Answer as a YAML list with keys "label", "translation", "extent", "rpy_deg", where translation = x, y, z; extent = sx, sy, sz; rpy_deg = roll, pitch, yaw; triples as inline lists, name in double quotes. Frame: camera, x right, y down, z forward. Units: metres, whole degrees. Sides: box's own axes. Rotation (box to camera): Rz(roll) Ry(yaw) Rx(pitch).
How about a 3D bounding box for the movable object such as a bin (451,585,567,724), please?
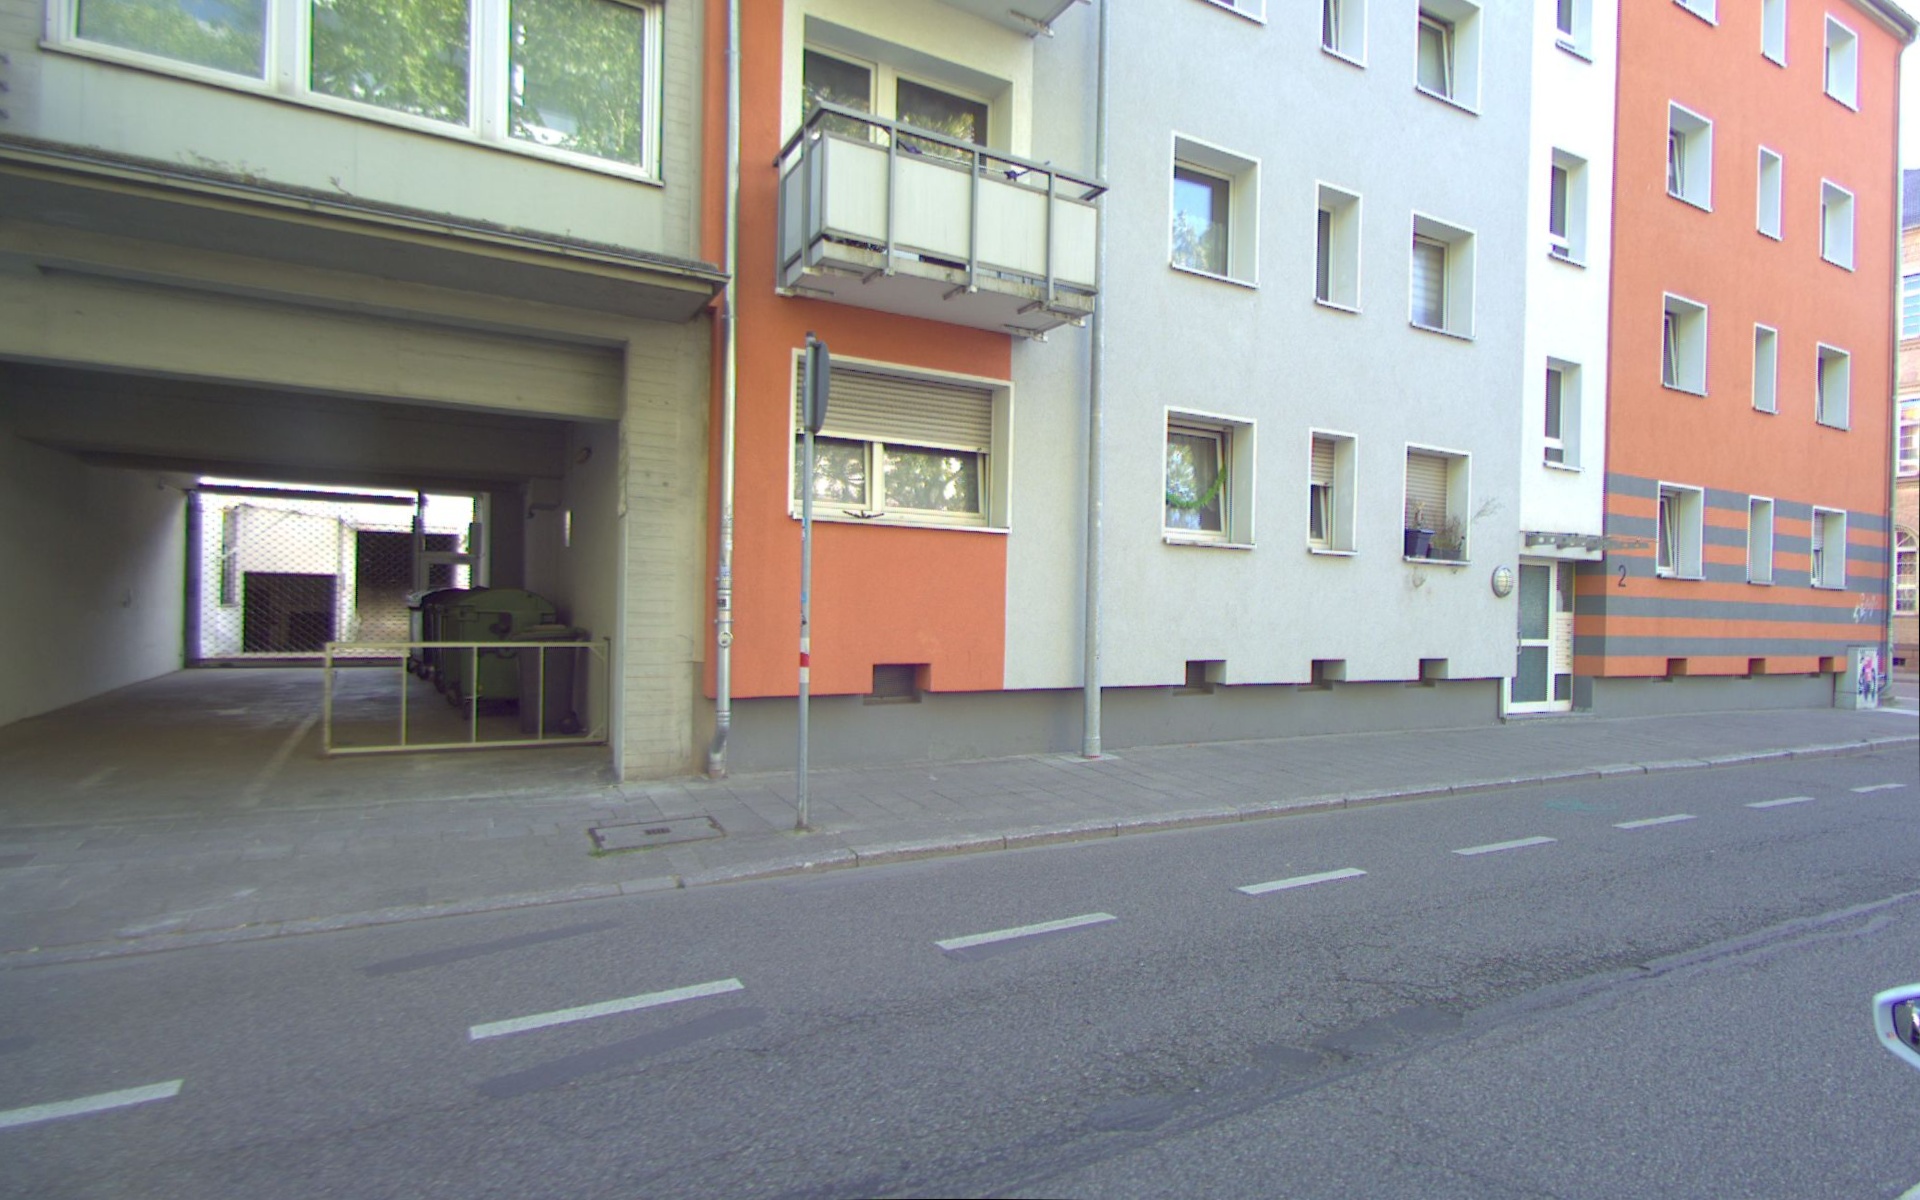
- label: "movable object such as a bin"
  translation: [-5.201, 0.589, 11.559]
  extent: [1.128, 1.484, 1.255]
  rpy_deg: [2, 0, -27]

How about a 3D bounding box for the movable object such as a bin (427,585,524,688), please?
- label: "movable object such as a bin"
  translation: [-7.491, 0.542, 15.543]
  extent: [1.264, 1.515, 1.155]
  rpy_deg: [2, 0, -27]

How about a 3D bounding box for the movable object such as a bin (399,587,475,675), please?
- label: "movable object such as a bin"
  translation: [-9.233, 0.533, 17.777]
  extent: [1.128, 1.484, 1.129]
  rpy_deg: [2, 0, -27]

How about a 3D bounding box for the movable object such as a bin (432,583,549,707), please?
- label: "movable object such as a bin"
  translation: [-6.041, 0.562, 12.930]
  extent: [1.264, 1.493, 1.266]
  rpy_deg: [2, -1, -27]

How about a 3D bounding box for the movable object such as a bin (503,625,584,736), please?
- label: "movable object such as a bin"
  translation: [-4.228, 0.801, 10.188]
  extent: [0.694, 1.061, 0.567]
  rpy_deg: [2, 0, -27]

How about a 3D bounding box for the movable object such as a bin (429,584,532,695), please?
- label: "movable object such as a bin"
  translation: [-6.908, 0.546, 14.483]
  extent: [1.264, 1.506, 1.155]
  rpy_deg: [2, 0, -27]

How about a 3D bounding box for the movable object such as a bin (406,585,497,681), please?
- label: "movable object such as a bin"
  translation: [-8.338, 0.529, 16.503]
  extent: [1.264, 1.506, 1.155]
  rpy_deg: [2, 0, -27]
